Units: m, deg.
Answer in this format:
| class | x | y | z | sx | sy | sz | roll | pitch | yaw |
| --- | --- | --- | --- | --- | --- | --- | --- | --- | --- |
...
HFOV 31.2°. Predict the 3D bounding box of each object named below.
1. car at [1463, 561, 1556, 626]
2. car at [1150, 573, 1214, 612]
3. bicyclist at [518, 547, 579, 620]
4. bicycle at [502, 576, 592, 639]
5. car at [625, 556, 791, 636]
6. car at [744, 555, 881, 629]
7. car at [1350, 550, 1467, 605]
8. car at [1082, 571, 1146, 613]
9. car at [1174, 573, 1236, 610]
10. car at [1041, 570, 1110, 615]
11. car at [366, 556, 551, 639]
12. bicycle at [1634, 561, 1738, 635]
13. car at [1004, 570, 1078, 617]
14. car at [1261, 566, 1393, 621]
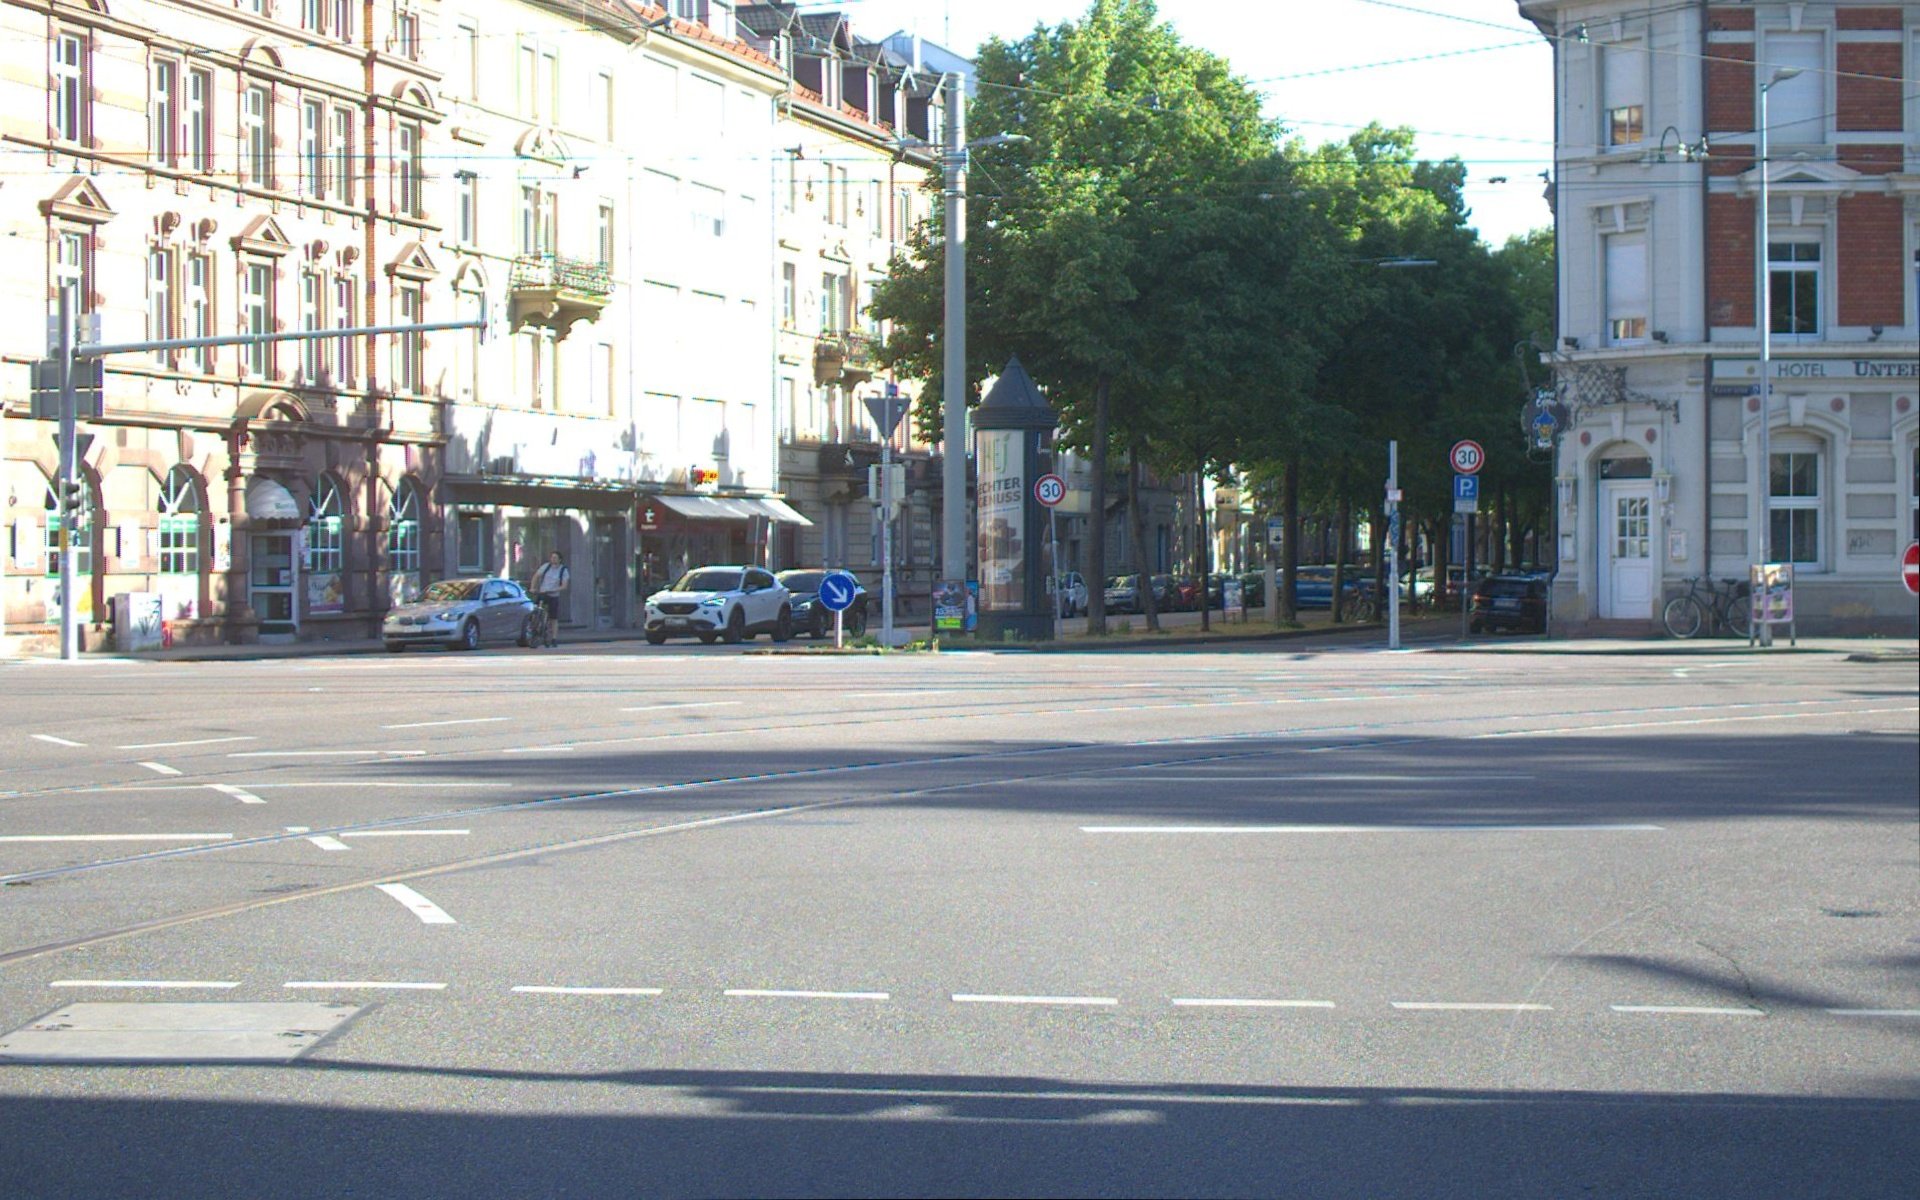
| class | x | y | z | sx | sy | sz | roll | pitch | yaw |
| --- | --- | --- | --- | --- | --- | --- | --- | --- | --- |
| car | 13.171 | -0.155 | 82.286 | 1.652 | 1.519 | 3.750 | 0 | 0 | 17 |
| car | 8.511 | -0.313 | 131.607 | 1.742 | 1.393 | 4.121 | 3 | 1 | 13 |
| bicyclist | -7.849 | -0.314 | 65.591 | 0.794 | 1.370 | 1.107 | 0 | 1 | 14 |
| bicycle | -7.863 | 0.128 | 65.628 | 0.751 | 1.131 | 2.808 | 0 | 1 | 14 |
| car | -4.875 | -0.102 | 67.165 | 2.098 | 1.494 | 3.998 | 0 | 1 | 14 |
| car | -3.126 | -0.190 | 73.532 | 1.994 | 1.508 | 3.998 | 0 | 1 | 12 |
| car | 17.411 | -0.876 | 133.424 | 4.115 | 1.912 | 1.744 | 3 | 1 | 21 |
| car | 5.510 | -0.303 | 122.783 | 1.741 | 1.393 | 4.122 | 3 | 1 | 9 |
| car | 9.729 | -0.348 | 136.386 | 1.742 | 1.393 | 4.121 | 3 | 1 | 13 |
| car | 3.924 | -0.255 | 115.806 | 1.741 | 1.393 | 4.122 | 3 | 1 | 9 |
| car | -9.773 | -0.071 | 67.380 | 2.098 | 1.540 | 4.361 | 0 | 1 | 14 |
| bicycle | 12.066 | -0.032 | 57.134 | 1.639 | 1.218 | 0.606 | 0 | 1 | 16 |
| car | 2.600 | -0.216 | 110.001 | 1.741 | 1.393 | 4.122 | 3 | 1 | 9 |
| car | 12.294 | -0.225 | 115.225 | 4.113 | 1.640 | 1.745 | 3 | 1 | 15 |
